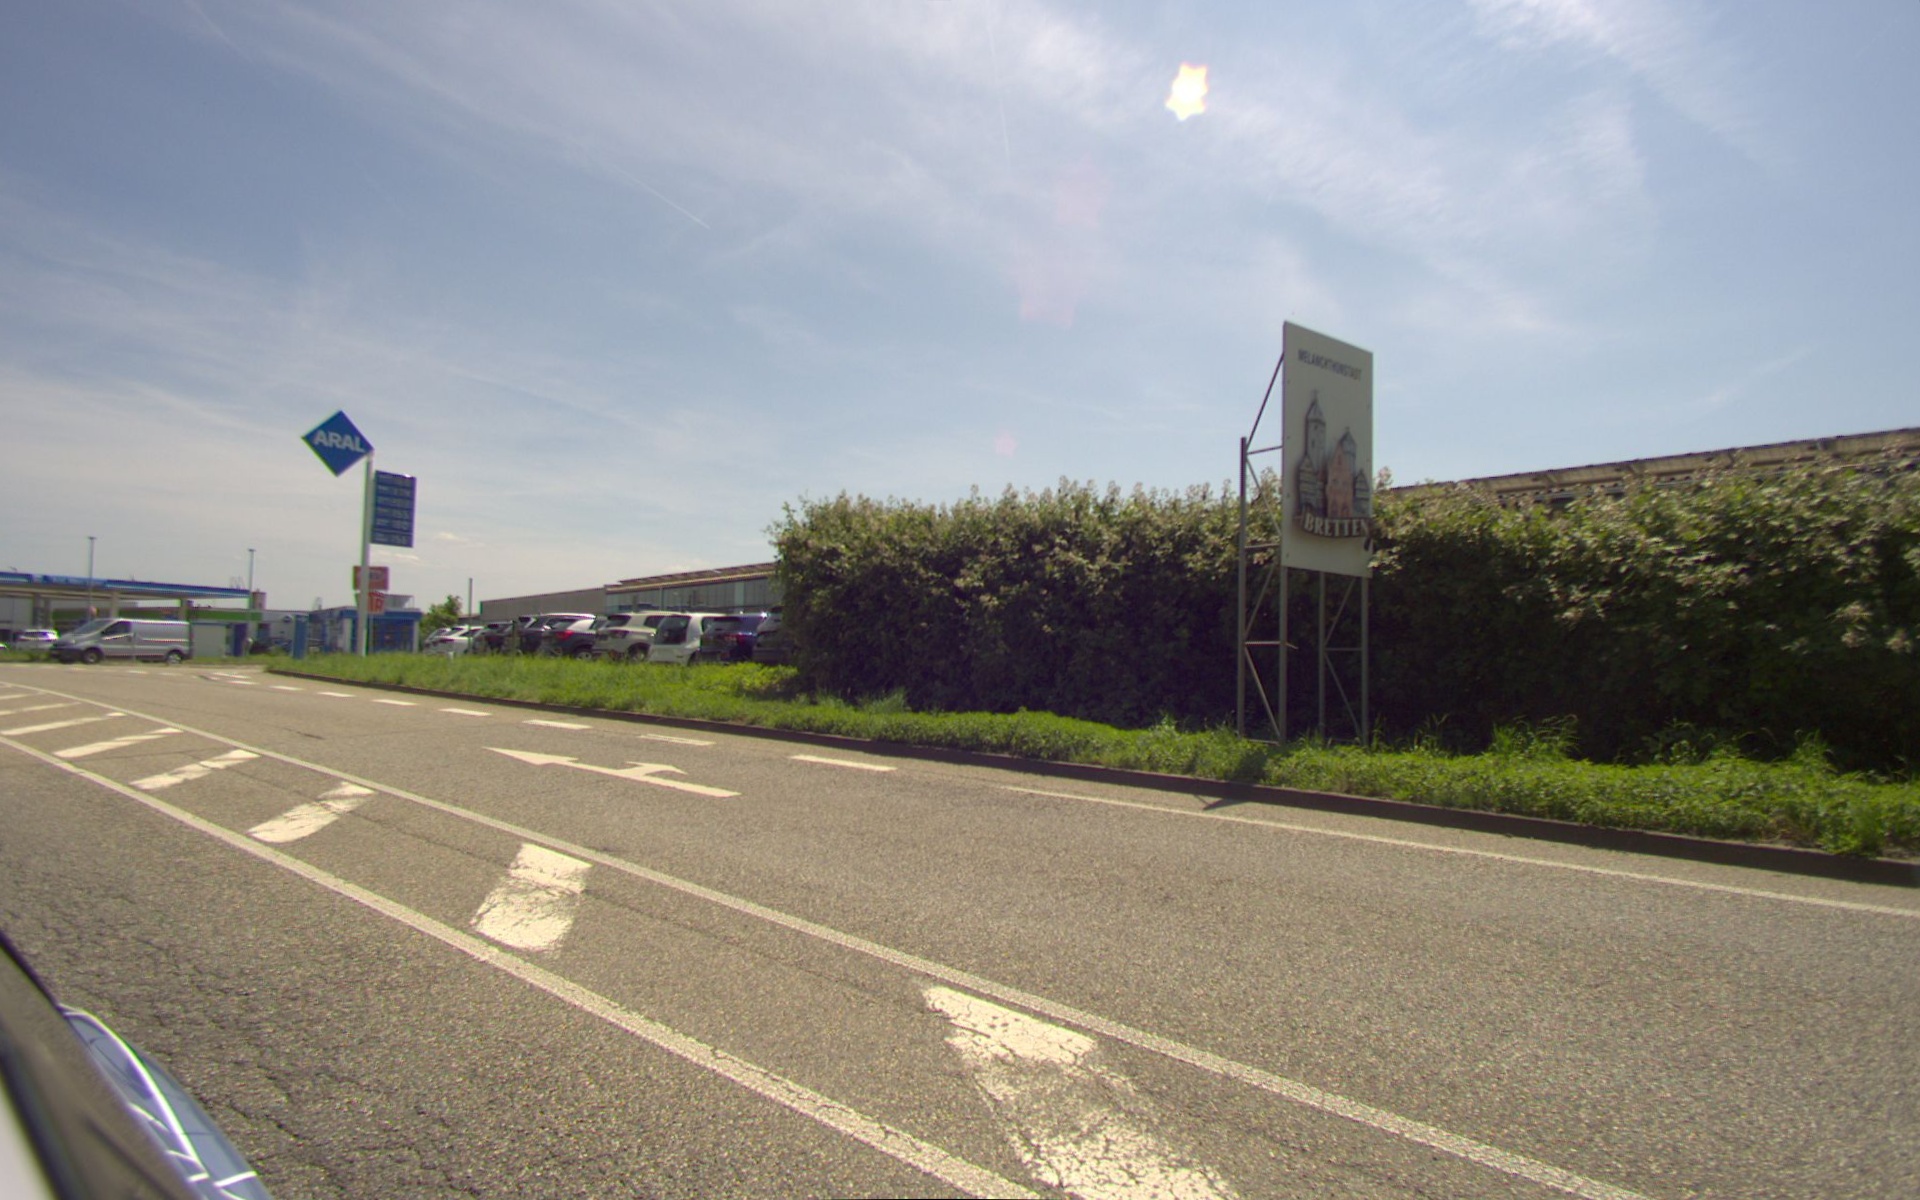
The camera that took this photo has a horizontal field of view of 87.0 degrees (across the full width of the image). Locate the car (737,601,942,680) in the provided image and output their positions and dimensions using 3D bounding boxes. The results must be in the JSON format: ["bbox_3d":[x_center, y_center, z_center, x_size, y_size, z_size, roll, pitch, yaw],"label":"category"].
[{"bbox_3d":[-2.341,0.753,20.092,3.651,1.383,1.806,-1,-1,-42],"label":"car"}]

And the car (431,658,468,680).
[{"bbox_3d":[-39.409,5.319,78.086,1.732,1.453,3.907,0,0,-39],"label":"car"}]

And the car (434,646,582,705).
[{"bbox_3d":[-14.721,2.407,33.078,3.940,1.763,1.936,3,-3,-44],"label":"car"}]

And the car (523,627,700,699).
[{"bbox_3d":[-9.228,1.706,26.925,3.939,1.763,2.002,5,-5,-42],"label":"car"}]

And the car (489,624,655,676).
[{"bbox_3d":[-11.042,1.468,28.951,3.939,1.342,2.002,5,-5,-42],"label":"car"}]

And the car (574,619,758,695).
[{"bbox_3d":[-7.362,1.484,25.541,3.939,1.763,2.002,5,-5,-42],"label":"car"}]

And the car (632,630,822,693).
[{"bbox_3d":[-5.391,1.470,23.718,3.941,1.327,1.834,5,-6,-45],"label":"car"}]

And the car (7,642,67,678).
[{"bbox_3d":[-47.700,3.076,52.381,1.838,1.725,4.528,2,-2,-38],"label":"car"}]

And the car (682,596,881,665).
[{"bbox_3d":[-3.834,0.641,22.132,1.821,1.373,3.942,-3,-2,45],"label":"car"}]

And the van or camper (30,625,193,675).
[{"bbox_3d":[-35.489,2.153,42.525,1.892,1.919,4.825,-1,-5,23],"label":"van or camper"}]

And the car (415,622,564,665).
[{"bbox_3d":[-16.069,1.506,34.664,4.187,1.369,2.001,3,-4,-44],"label":"car"}]

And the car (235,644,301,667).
[{"bbox_3d":[-51.317,4.083,75.138,3.932,1.619,1.952,1,-3,-33],"label":"car"}]

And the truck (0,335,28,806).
[{"bbox_3d":[-16.221,-0.260,13.041,17.601,4.124,2.946,0,0,37],"label":"truck"}]

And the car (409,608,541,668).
[{"bbox_3d":[-17.635,1.346,36.884,3.940,2.029,2.001,0,-2,-44],"label":"car"}]

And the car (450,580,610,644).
[{"bbox_3d":[-12.853,0.405,30.374,3.938,1.763,2.002,3,-3,-42],"label":"car"}]
